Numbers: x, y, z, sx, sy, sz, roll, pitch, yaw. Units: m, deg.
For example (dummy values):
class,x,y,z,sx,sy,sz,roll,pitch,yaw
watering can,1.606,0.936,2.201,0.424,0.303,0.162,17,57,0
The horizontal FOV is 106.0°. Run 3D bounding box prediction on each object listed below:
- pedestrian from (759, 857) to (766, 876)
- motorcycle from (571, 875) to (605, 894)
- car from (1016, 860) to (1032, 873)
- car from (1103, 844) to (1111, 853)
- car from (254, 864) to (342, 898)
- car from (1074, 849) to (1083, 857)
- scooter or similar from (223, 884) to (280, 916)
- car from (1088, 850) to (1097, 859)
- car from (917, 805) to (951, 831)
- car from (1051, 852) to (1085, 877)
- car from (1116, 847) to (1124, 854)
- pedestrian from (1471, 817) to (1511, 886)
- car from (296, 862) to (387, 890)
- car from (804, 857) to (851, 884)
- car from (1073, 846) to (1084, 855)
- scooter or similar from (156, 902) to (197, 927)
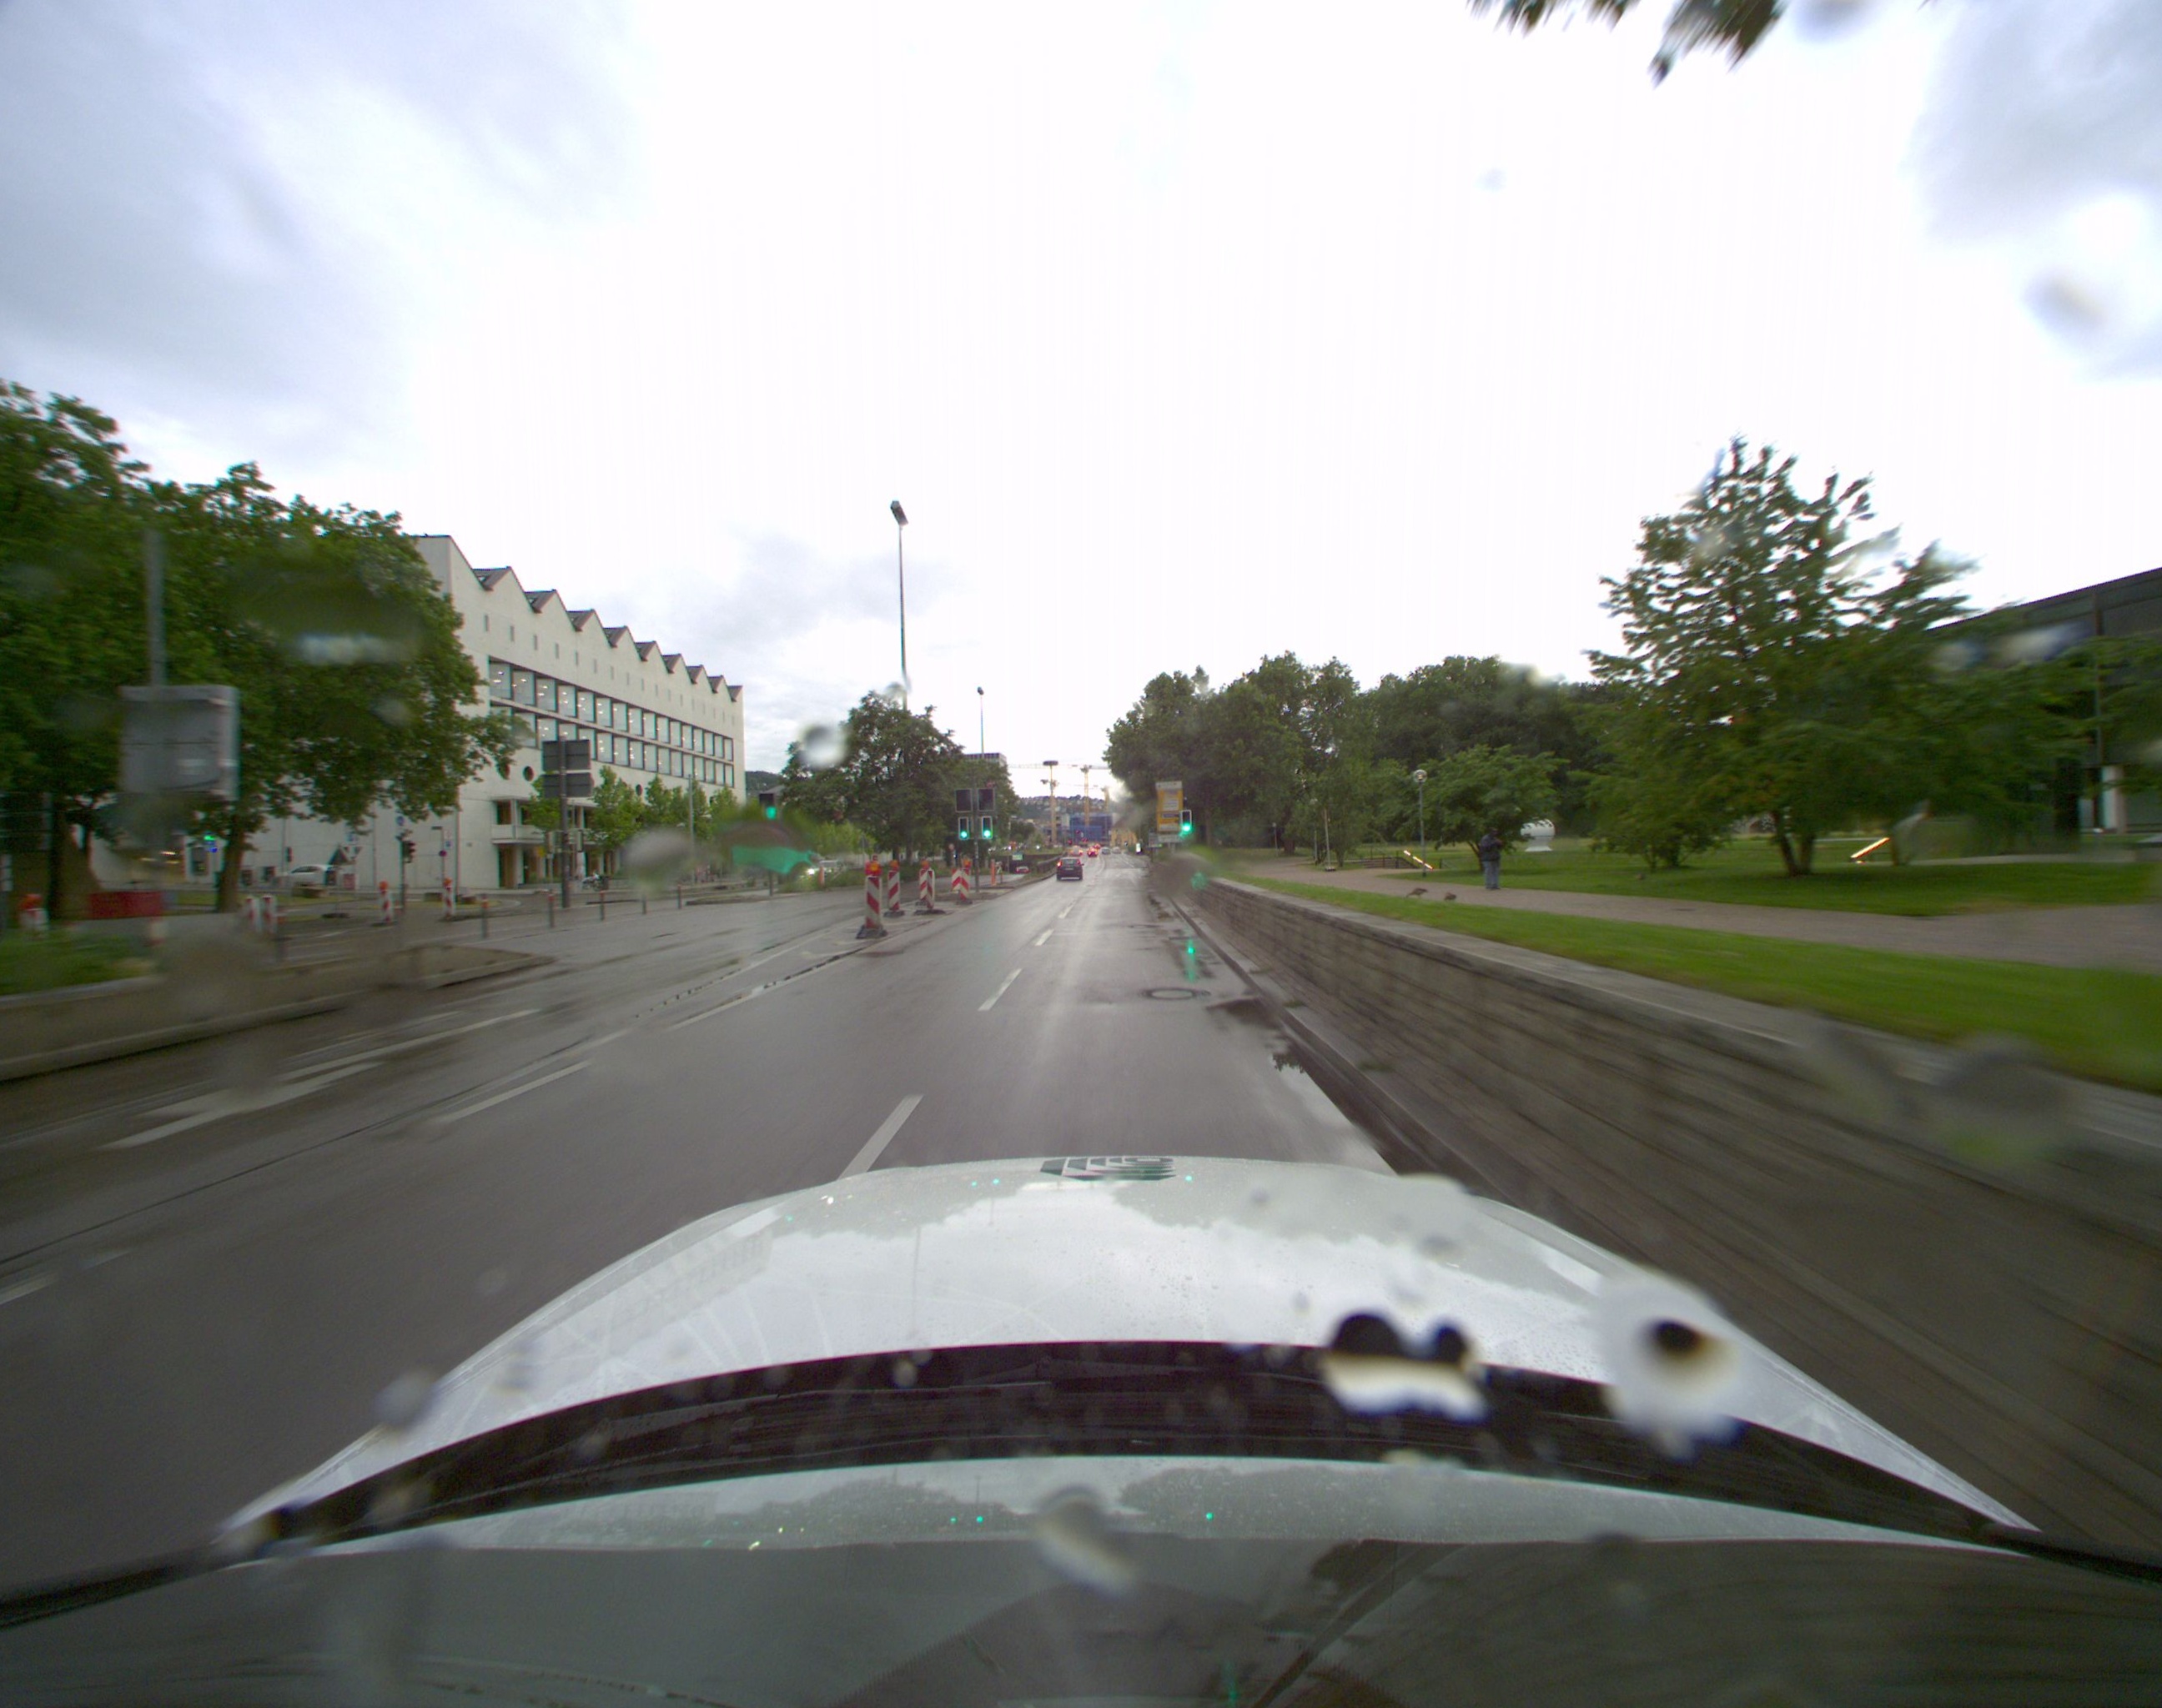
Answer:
class,x,y,z,sx,sy,sz,roll,pitch,yaw
pedestrian,-34.441,1.358,88.019,0.543,2.014,0.525,-3,-1,-35
motorcycle,-33.124,2.022,54.730,1.844,1.154,0.423,-3,0,-27
car,-8.675,1.894,125.137,1.986,1.781,4.001,-2,0,1
car,6.463,-1.467,202.021,1.980,2.014,4.001,-4,-1,1
car,-52.232,1.793,54.377,3.968,2.014,2.003,-4,-1,5
car,-0.612,-0.193,202.285,1.985,1.782,4.003,-4,-1,3
scooter or similar,-38.649,2.130,37.969,0.706,1.351,1.684,-4,-1,21
car,2.503,0.149,174.931,1.733,1.771,4.000,-4,-1,1
car,-10.768,-2.624,59.884,1.990,1.632,3.994,-2,0,-4
car,-0.865,0.683,52.625,1.841,1.416,3.832,-3,-1,-5
car,9.981,-0.838,208.595,1.985,1.599,4.003,-4,-1,3
pedestrian,10.739,-0.061,21.348,0.593,1.755,0.725,-3,0,-2
car,-48.119,1.425,53.041,3.977,1.596,1.998,-2,0,-3
car,-19.137,1.247,61.656,1.988,1.840,4.889,-4,-1,-2
car,-0.644,-0.840,185.196,2.210,2.014,4.003,-1,-1,3
scooter or similar,-41.459,2.762,37.337,1.658,1.018,0.438,-4,-1,11
